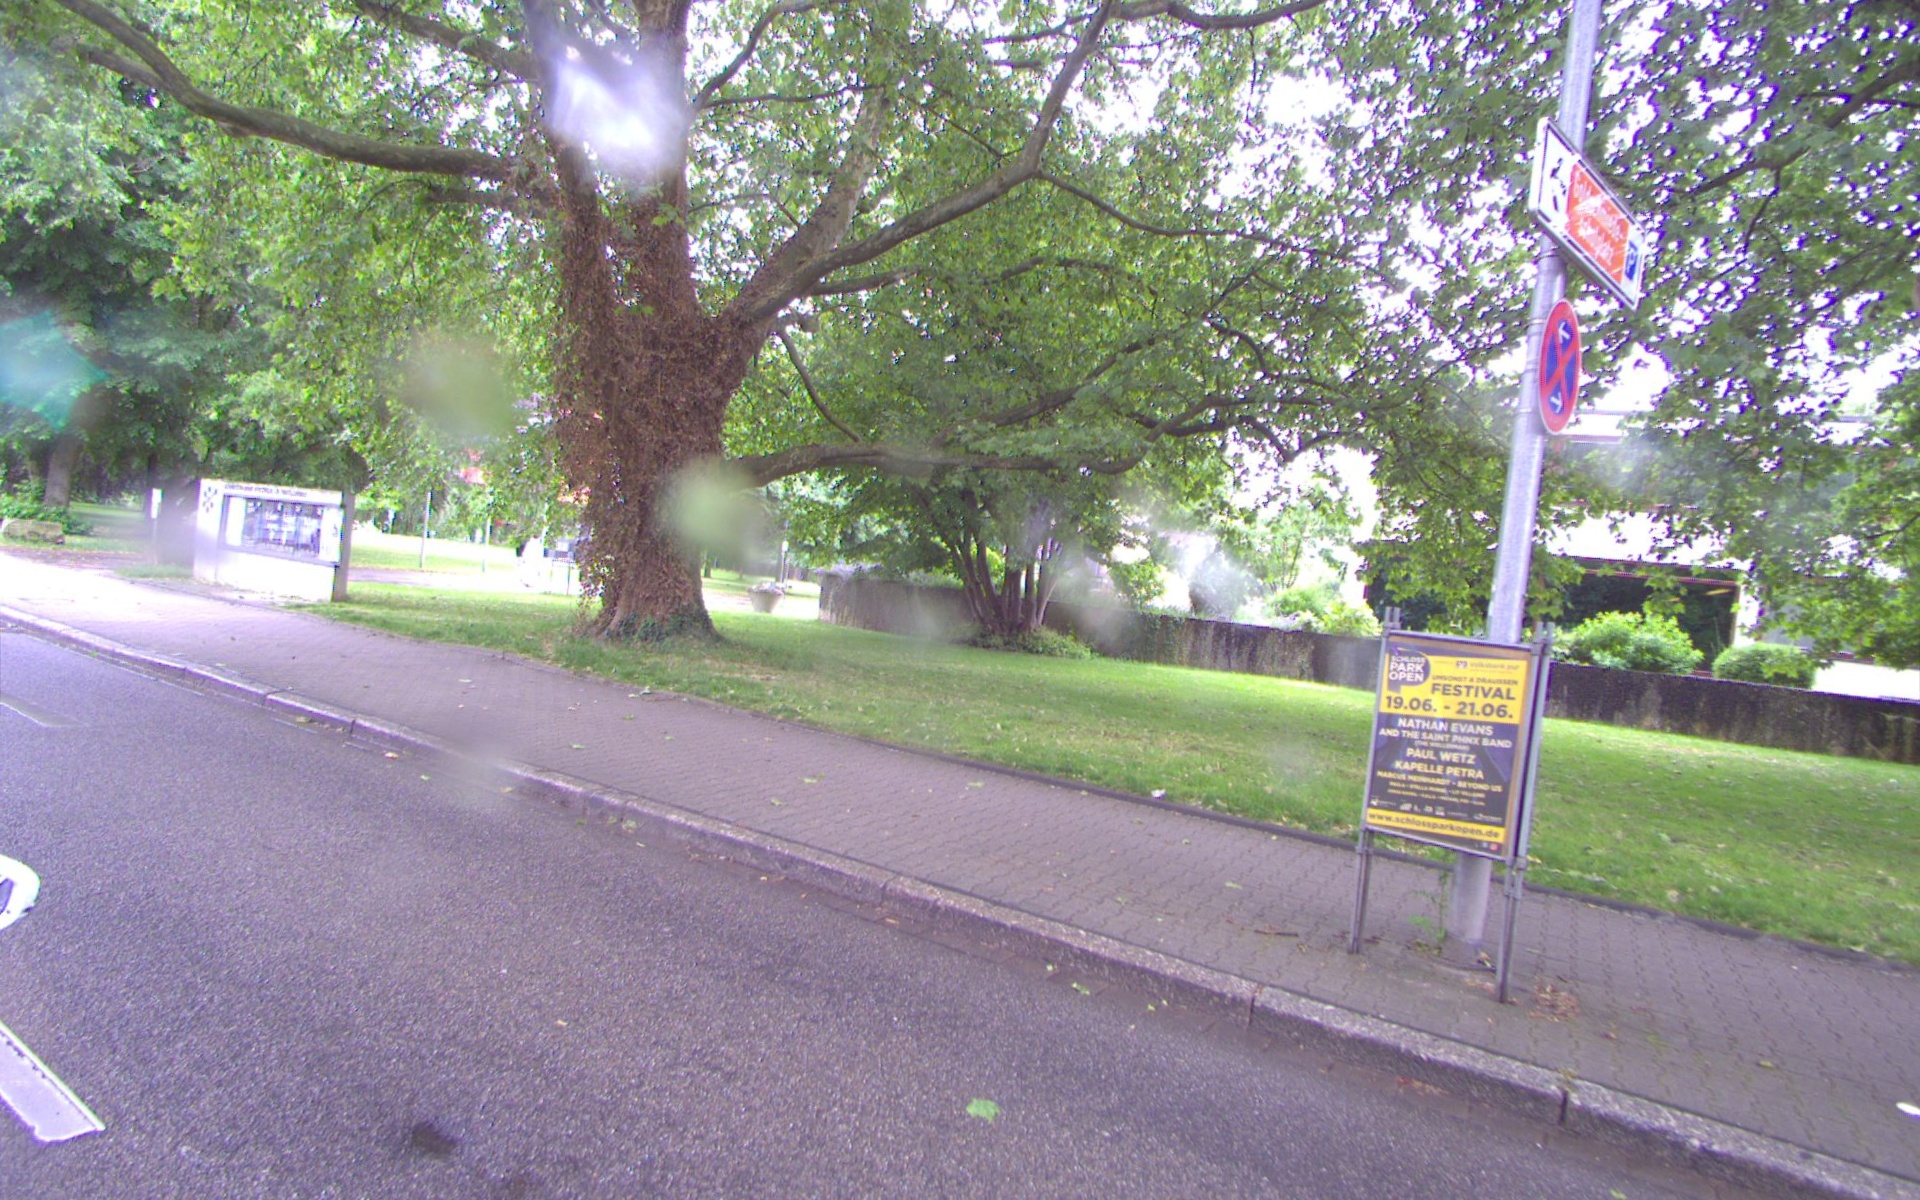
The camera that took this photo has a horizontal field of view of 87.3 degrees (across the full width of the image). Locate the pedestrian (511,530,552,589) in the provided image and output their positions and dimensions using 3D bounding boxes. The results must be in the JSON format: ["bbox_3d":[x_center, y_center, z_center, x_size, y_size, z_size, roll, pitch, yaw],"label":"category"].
[{"bbox_3d":[-13.541,-1.265,31.814,0.776,1.732,0.666,7,-1,23],"label":"pedestrian"}]

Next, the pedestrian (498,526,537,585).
[{"bbox_3d":[-14.290,-1.421,32.500,0.711,1.776,0.666,7,-1,23],"label":"pedestrian"}]
